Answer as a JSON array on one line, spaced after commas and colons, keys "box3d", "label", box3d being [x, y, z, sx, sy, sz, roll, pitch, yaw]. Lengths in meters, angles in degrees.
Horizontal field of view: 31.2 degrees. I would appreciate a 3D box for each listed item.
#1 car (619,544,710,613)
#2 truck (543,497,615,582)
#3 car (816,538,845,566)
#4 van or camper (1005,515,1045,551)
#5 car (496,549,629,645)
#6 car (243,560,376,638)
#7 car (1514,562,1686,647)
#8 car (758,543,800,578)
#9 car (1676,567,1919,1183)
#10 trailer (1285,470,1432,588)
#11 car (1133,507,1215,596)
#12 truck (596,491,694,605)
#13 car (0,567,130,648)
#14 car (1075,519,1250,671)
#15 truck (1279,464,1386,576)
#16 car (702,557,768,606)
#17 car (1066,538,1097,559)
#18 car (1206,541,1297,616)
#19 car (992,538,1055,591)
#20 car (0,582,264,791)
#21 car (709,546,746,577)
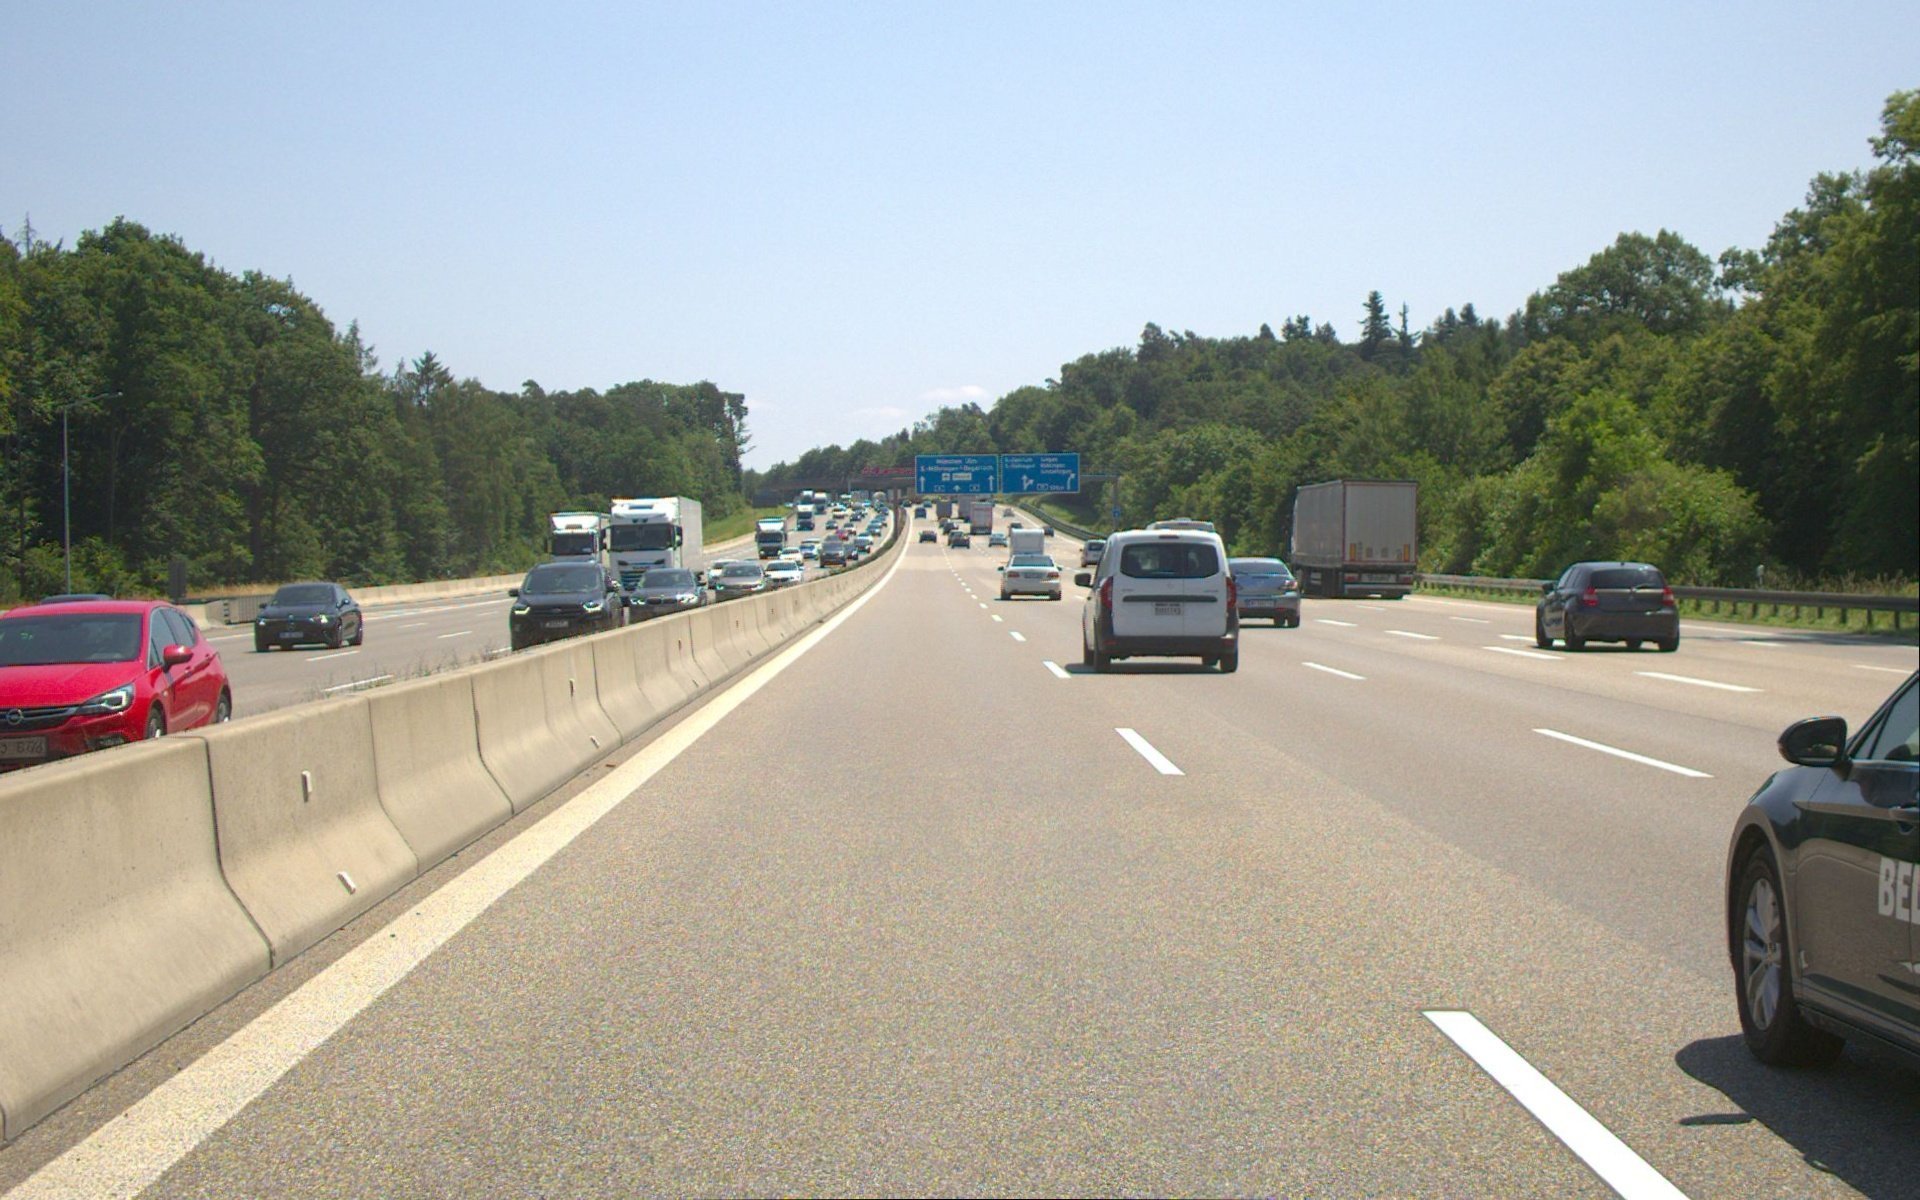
[{"box3d": [-7.600, -0.568, 88.851, 1.993, 1.657, 4.972, -2, 1, -2], "label": "car"}, {"box3d": [-19.550, -3.092, 176.806, 2.834, 4.183, 10.597, -1, 1, -2], "label": "truck"}, {"box3d": [-9.427, -3.532, 250.335, 1.898, 1.947, 5.657, -2, 1, -1], "label": "car"}, {"box3d": [4.717, -4.872, 250.269, 2.645, 2.530, 6.502, -1, 1, -1], "label": "van or camper"}, {"box3d": [-7.416, -0.096, 64.675, 1.993, 1.657, 5.755, -2, 1, -2], "label": "car"}, {"box3d": [-14.540, -0.052, 77.116, 1.993, 1.615, 5.755, -1, 1, -1], "label": "car"}, {"box3d": [10.207, 0.045, 55.102, 1.670, 1.269, 4.291, 0, 1, -4], "label": "car"}, {"box3d": [-7.803, -1.715, 148.226, 1.747, 1.452, 4.157, -1, 1, -2], "label": "car"}, {"box3d": [3.165, 0.674, 8.536, 1.729, 1.442, 4.961, 1, 1, 0], "label": "car"}, {"box3d": [14.030, -2.625, 122.320, 3.287, 3.917, 13.892, 1, 2, -1], "label": "trailer"}, {"box3d": [6.548, -1.532, 105.763, 2.143, 2.643, 5.710, 0, 2, 0], "label": "car"}, {"box3d": [-11.866, -1.960, 129.941, 3.047, 4.122, 6.950, -2, 1, -1], "label": "truck"}, {"box3d": [-19.327, 0.134, 74.034, 1.993, 1.615, 4.215, -1, 1, -2], "label": "car"}, {"box3d": [2.573, -0.106, 44.661, 1.859, 1.819, 4.612, -1, 1, -1], "label": "car"}, {"box3d": [13.910, -3.028, 128.919, 3.254, 4.092, 5.988, 1, 2, -1], "label": "truck"}, {"box3d": [-7.569, -0.636, 115.811, 1.993, 1.482, 5.136, -3, 1, -2], "label": "car"}, {"box3d": [8.009, -3.383, 226.534, 1.835, 1.333, 3.643, -2, 1, -1], "label": "car"}, {"box3d": [6.068, -0.467, 71.795, 1.503, 1.495, 3.650, -2, 1, -1], "label": "car"}, {"box3d": [2.021, -1.147, 110.040, 1.843, 1.623, 4.553, -2, 1, 0], "label": "car"}, {"box3d": [-7.157, 0.649, 28.591, 1.730, 1.508, 5.045, -1, 1, -1], "label": "car"}, {"box3d": [-11.606, -1.937, 171.675, 1.722, 1.501, 4.462, -1, 1, -2], "label": "car"}]
